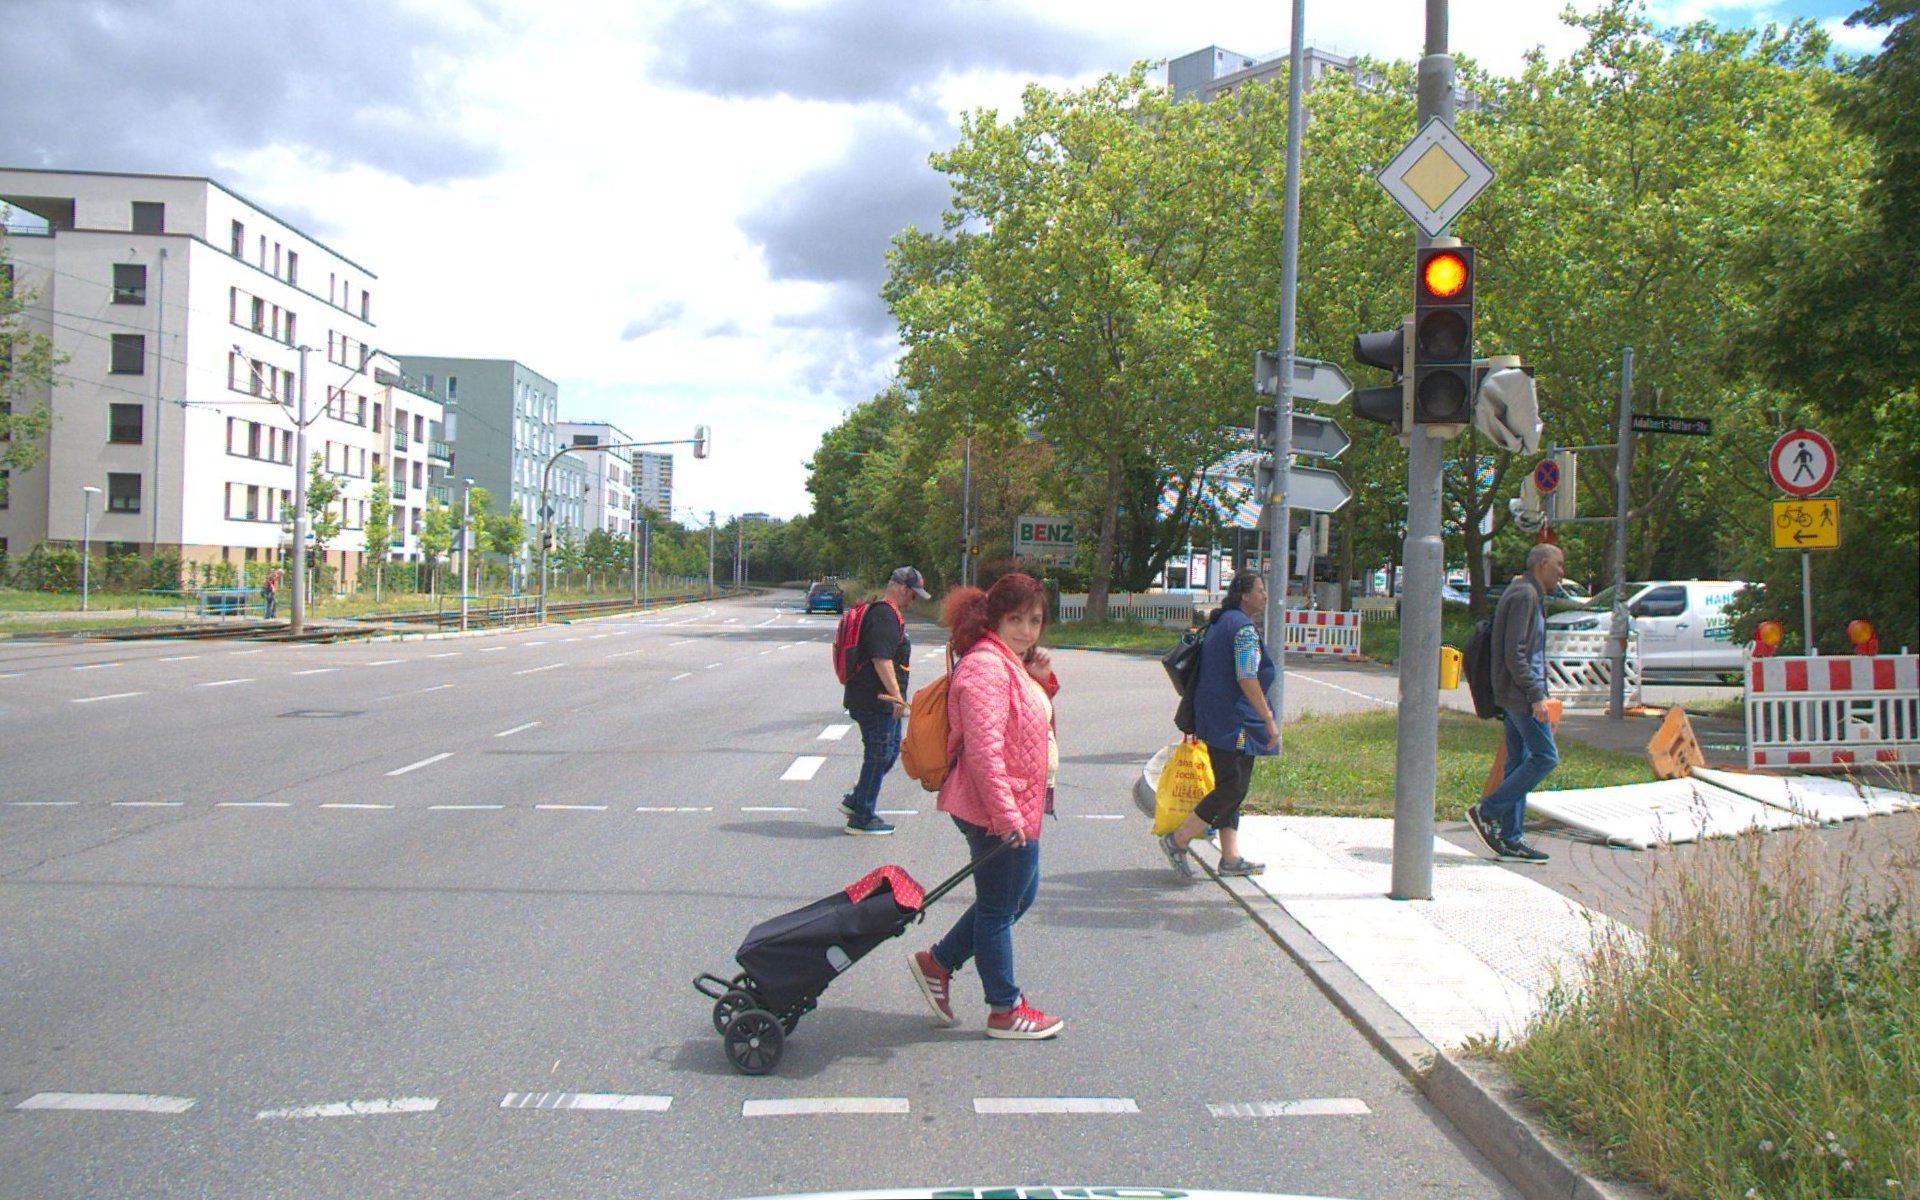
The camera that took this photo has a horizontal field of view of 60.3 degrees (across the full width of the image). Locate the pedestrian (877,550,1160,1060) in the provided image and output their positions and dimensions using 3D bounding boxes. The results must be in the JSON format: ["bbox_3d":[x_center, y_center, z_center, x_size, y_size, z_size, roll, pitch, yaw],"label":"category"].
[{"bbox_3d":[0.180,0.636,5.528,0.863,1.582,0.746,1,0,-1],"label":"pedestrian"}]

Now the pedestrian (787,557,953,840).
[{"bbox_3d":[-0.524,0.563,10.049,0.874,1.624,0.908,1,0,4],"label":"pedestrian"}]

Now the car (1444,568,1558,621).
[{"bbox_3d":[21.366,-0.236,65.465,1.974,2.049,3.957,0,1,-32],"label":"car"}]

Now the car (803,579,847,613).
[{"bbox_3d":[-6.417,-0.209,78.353,1.944,1.512,4.485,1,1,-6],"label":"car"}]

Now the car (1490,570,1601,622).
[{"bbox_3d":[23.933,-0.183,67.701,1.974,2.049,3.957,0,1,-32],"label":"car"}]

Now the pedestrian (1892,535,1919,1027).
[{"bbox_3d":[3.750,0.625,5.366,0.939,1.677,0.880,1,0,-1],"label":"pedestrian"}]

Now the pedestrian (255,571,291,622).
[{"bbox_3d":[-21.017,-0.122,50.629,0.814,1.542,0.636,1,0,-1],"label":"pedestrian"}]

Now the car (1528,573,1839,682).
[{"bbox_3d":[13.429,0.501,30.864,4.976,1.906,1.947,1,0,-5],"label":"car"}]

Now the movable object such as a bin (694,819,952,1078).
[{"bbox_3d":[-0.420,1.114,5.432,0.779,0.673,0.778,1,0,-1],"label":"movable object such as a bin"}]

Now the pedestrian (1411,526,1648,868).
[{"bbox_3d":[3.148,0.512,9.233,0.982,1.804,0.929,1,0,-1],"label":"pedestrian"}]

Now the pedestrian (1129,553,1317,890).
[{"bbox_3d":[1.384,0.588,8.605,0.893,1.635,0.930,1,0,11],"label":"pedestrian"}]

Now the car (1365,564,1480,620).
[{"bbox_3d":[17.522,-0.315,62.831,1.974,2.049,3.957,0,1,-32],"label":"car"}]
